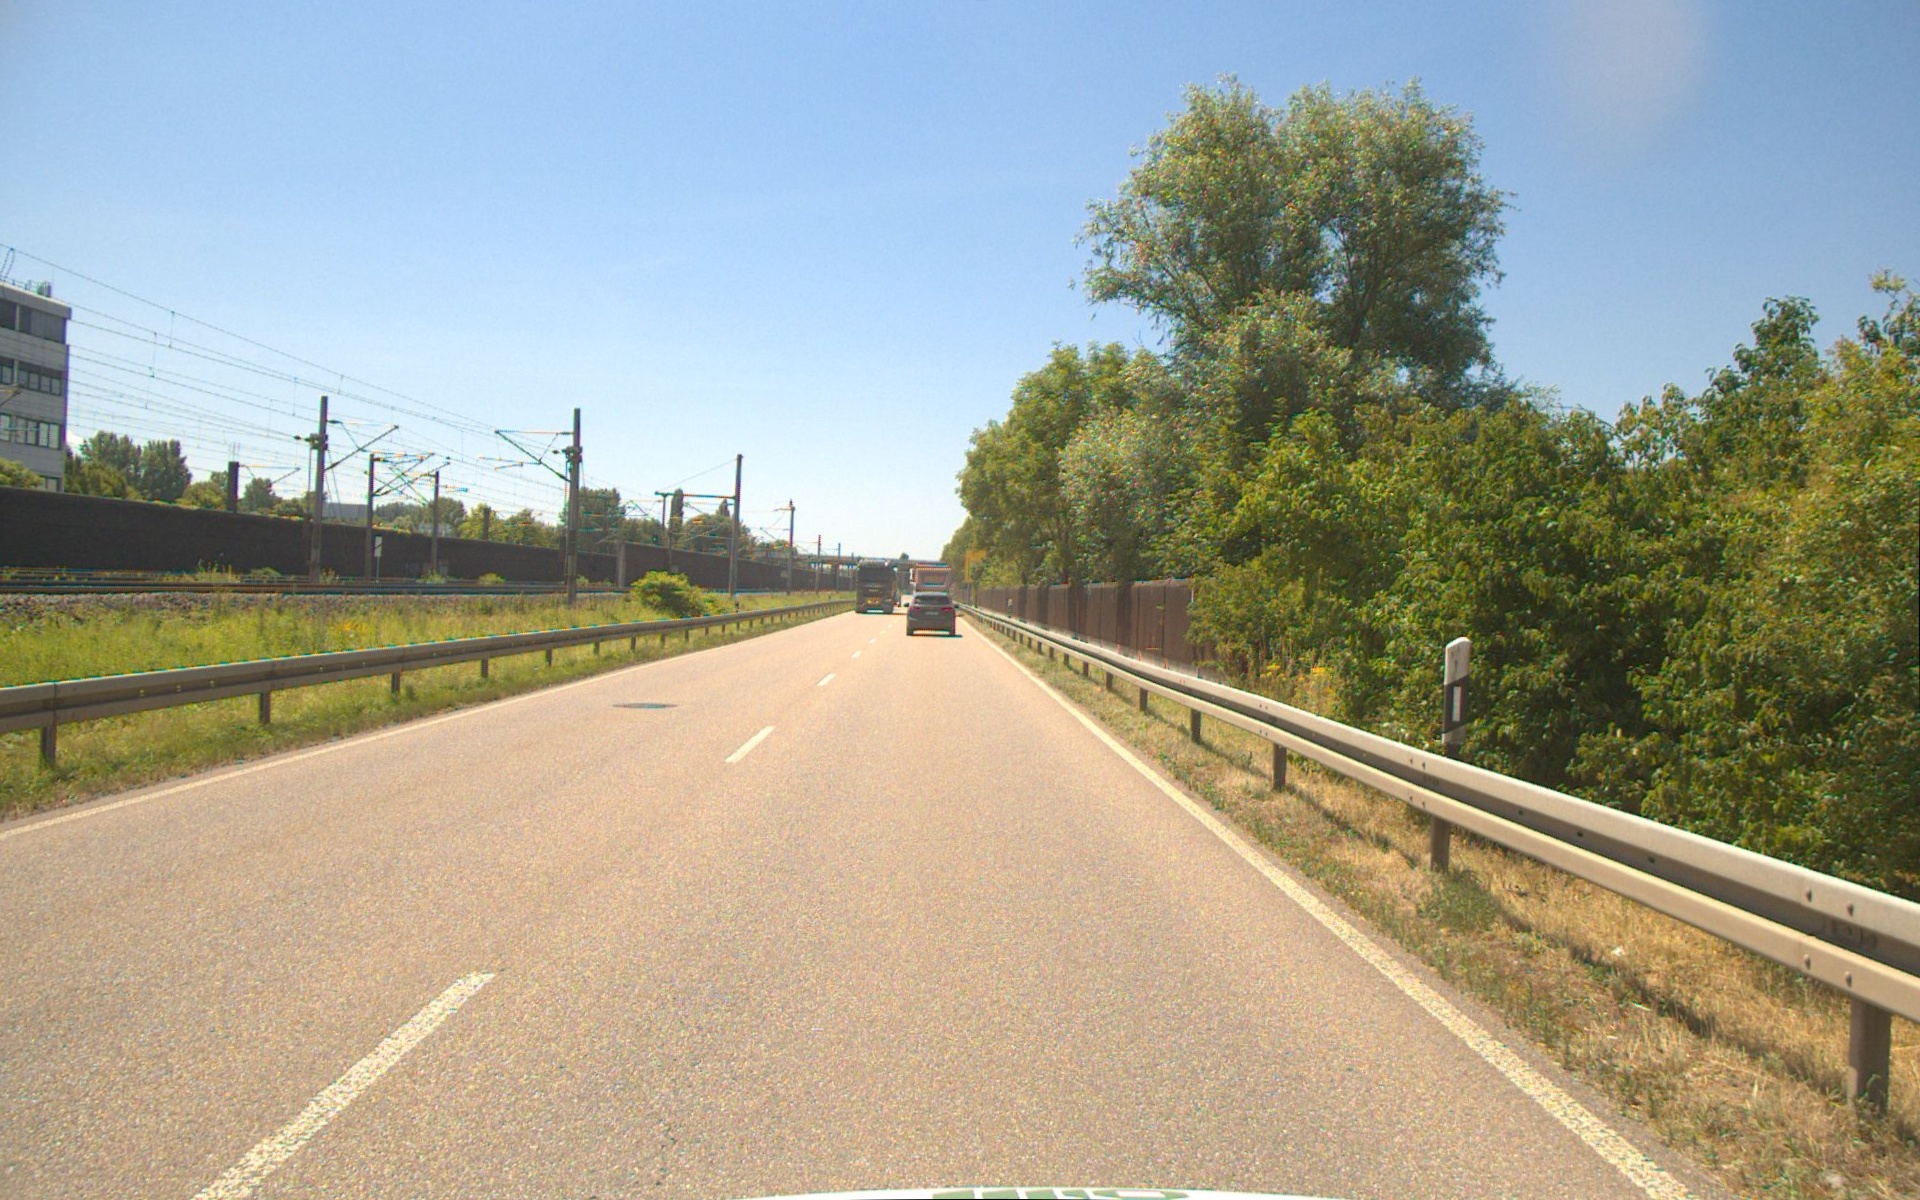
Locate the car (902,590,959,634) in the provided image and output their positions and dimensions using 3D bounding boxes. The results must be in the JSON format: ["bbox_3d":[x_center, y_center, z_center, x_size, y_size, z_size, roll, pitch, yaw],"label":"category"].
[{"bbox_3d":[-1.111,0.411,60.632,1.954,1.534,3.998,1,1,-3],"label":"car"}]

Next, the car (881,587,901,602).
[{"bbox_3d":[-6.998,-0.568,168.928,1.935,1.534,4.162,1,0,-1],"label":"car"}]

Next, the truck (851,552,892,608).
[{"bbox_3d":[-6.164,-1.421,116.449,2.605,3.690,10.973,1,1,-2],"label":"truck"}]

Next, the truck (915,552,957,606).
[{"bbox_3d":[-1.691,-1.441,114.845,2.714,3.485,10.817,1,0,-1],"label":"truck"}]
